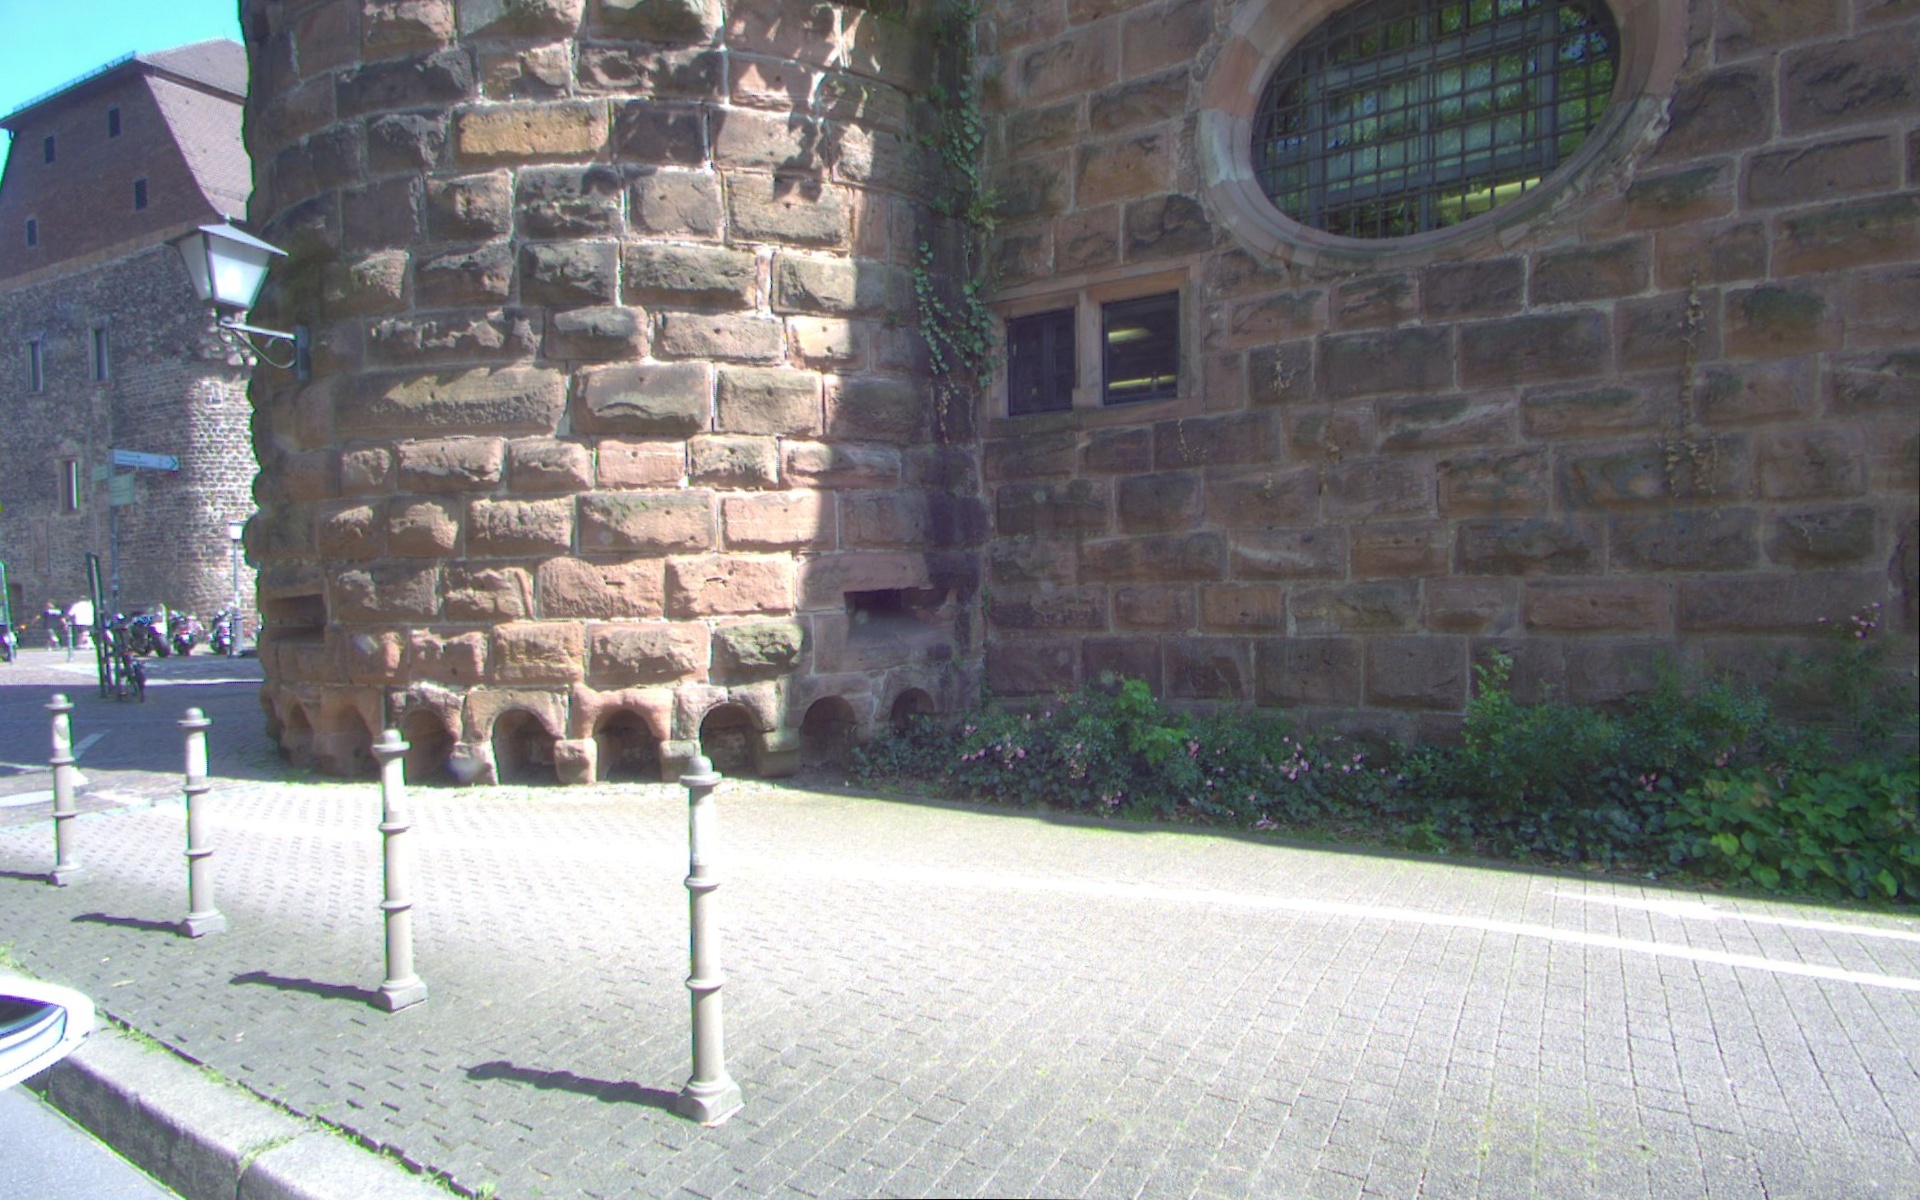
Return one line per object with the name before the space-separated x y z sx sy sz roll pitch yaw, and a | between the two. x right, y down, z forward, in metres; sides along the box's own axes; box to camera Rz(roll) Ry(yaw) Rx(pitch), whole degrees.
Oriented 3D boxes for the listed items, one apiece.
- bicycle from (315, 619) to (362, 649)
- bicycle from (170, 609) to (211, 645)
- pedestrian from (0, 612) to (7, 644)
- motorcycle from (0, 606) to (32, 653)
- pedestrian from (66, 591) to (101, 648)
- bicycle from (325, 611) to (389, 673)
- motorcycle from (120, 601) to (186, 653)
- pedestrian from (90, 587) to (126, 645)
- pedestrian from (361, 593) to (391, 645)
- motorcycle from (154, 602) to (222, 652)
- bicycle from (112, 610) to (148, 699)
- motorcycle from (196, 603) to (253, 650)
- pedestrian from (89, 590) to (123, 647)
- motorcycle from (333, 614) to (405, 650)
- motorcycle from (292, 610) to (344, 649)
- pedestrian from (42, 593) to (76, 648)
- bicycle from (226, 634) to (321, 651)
bicycle | -18.380 1.001 29.606 1.898 0.831 0.353 0 -1 32
bicycle | -26.688 0.944 34.726 1.690 1.225 0.388 -1 -1 24
pedestrian | -49.988 1.446 51.858 0.684 1.634 0.885 -2 2 -34
motorcycle | -22.189 0.667 23.041 2.453 1.026 0.565 0 1 32
pedestrian | -29.454 0.661 33.647 0.809 1.908 0.667 -1 -1 31
bicycle | -11.963 0.808 19.861 1.707 1.178 0.445 0 1 36
motorcycle | -20.570 0.702 25.507 2.169 1.282 0.654 -1 -1 32
pedestrian | -30.125 0.574 35.390 0.865 2.039 0.729 -1 -1 32
pedestrian | -19.181 0.622 32.900 0.799 1.684 0.652 -1 1 -34
motorcycle | -20.289 0.721 26.315 2.280 1.251 0.674 -1 -2 32
bicycle | -12.000 0.756 14.473 1.750 1.220 0.192 0 1 44
motorcycle | -19.936 0.725 27.138 2.002 1.251 0.545 -1 -2 32
pedestrian | -29.482 0.645 34.579 0.809 1.944 0.667 -1 -1 31
motorcycle | -18.299 0.987 31.036 0.474 1.067 1.858 -1 -2 40
motorcycle | -18.049 0.834 28.137 1.814 1.087 0.506 -1 -2 32
pedestrian | -30.595 0.689 34.008 0.835 1.826 0.651 0 0 31
bicycle | -17.556 1.088 25.632 1.916 0.386 0.909 0 -2 -44
